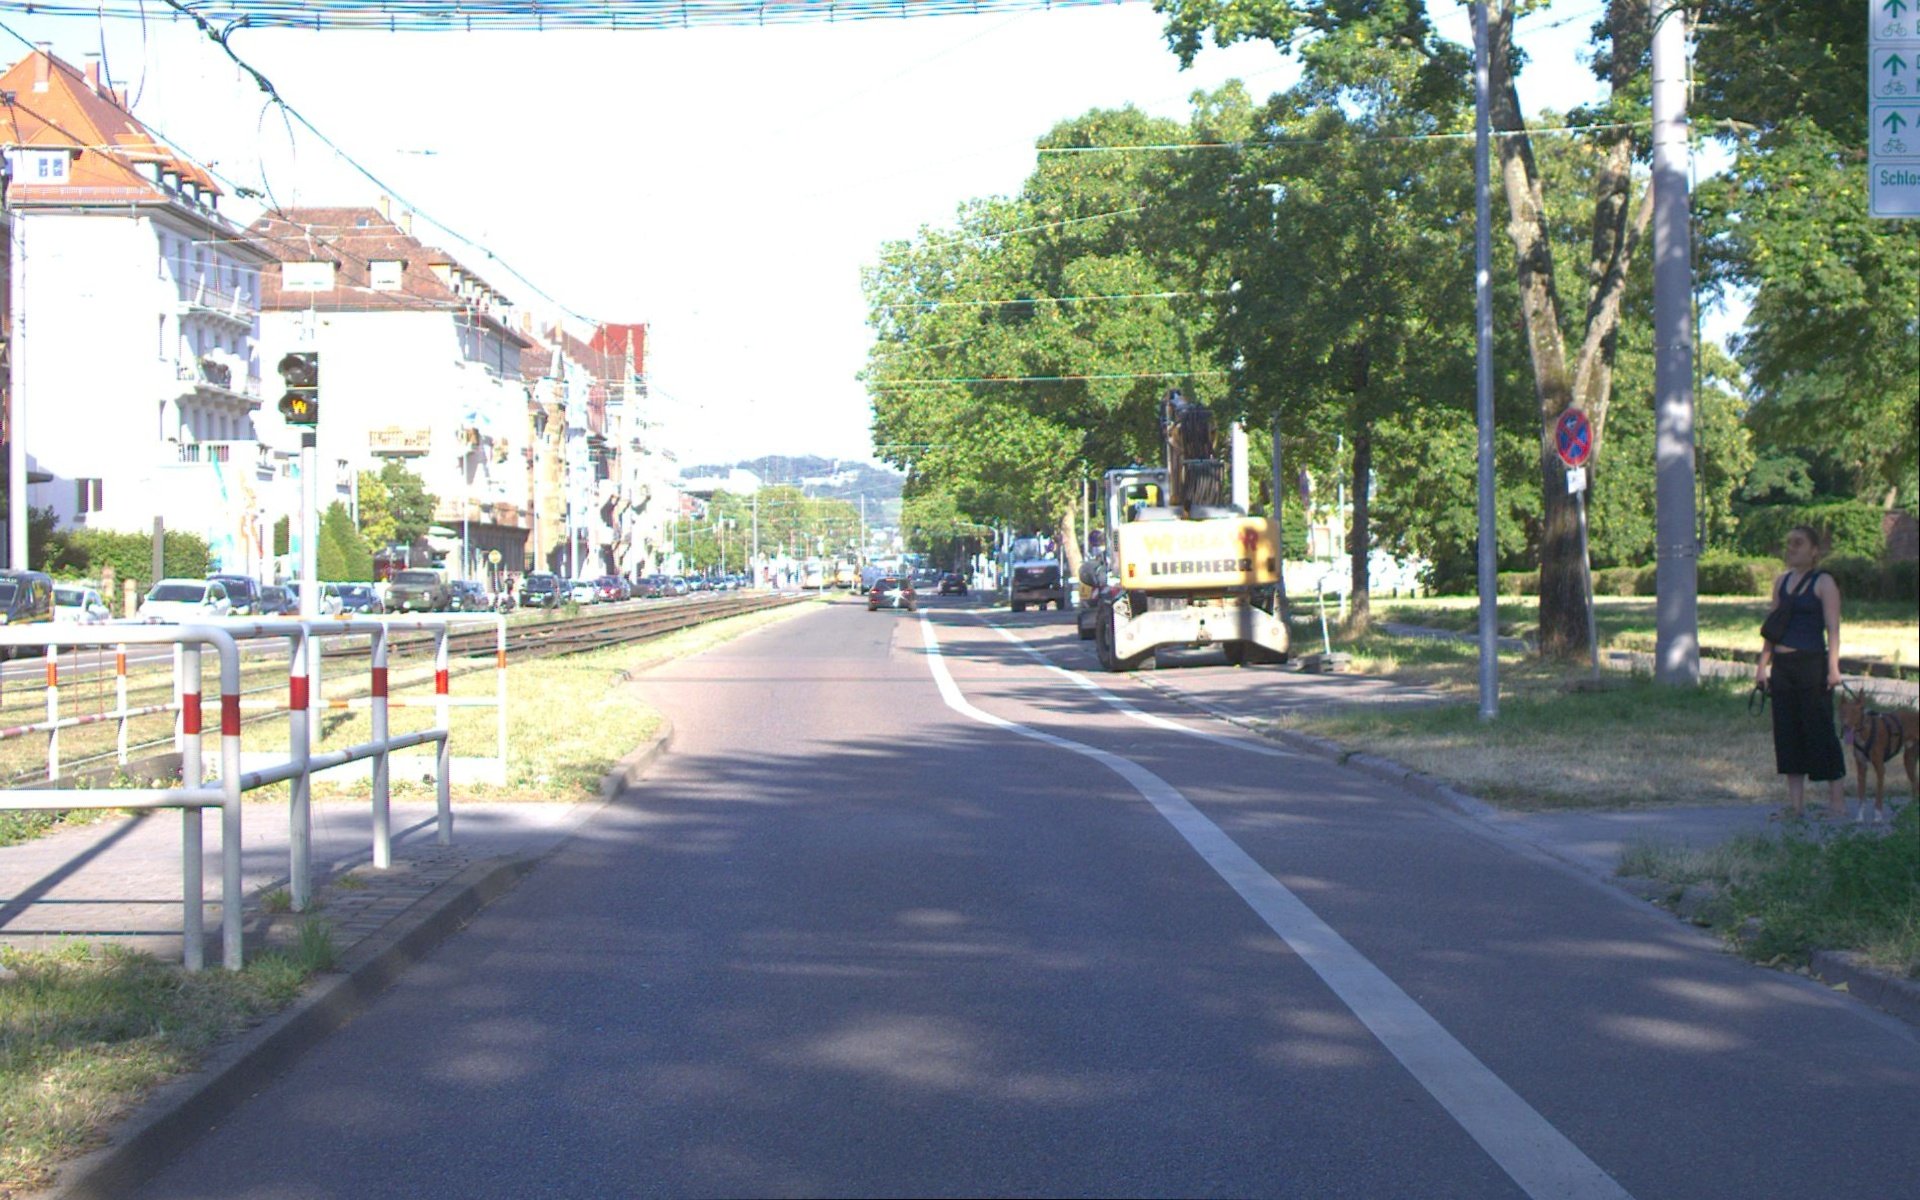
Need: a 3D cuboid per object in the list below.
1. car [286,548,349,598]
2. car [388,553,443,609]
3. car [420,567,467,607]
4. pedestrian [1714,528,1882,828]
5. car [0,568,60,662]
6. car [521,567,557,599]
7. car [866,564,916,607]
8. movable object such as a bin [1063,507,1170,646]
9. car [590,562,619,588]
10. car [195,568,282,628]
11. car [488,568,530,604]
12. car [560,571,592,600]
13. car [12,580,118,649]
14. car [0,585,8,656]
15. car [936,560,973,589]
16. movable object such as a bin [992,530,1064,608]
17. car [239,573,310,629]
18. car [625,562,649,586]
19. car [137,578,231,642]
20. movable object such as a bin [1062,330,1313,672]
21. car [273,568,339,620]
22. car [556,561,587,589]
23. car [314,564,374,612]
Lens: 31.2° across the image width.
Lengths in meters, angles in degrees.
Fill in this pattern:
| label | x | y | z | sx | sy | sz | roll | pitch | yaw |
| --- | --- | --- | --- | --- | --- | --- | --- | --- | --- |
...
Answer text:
| label | x | y | z | sx | sy | sz | roll | pitch | yaw |
| --- | --- | --- | --- | --- | --- | --- | --- | --- | --- |
| car | -21.237 | -0.914 | 113.731 | 1.527 | 1.555 | 3.224 | 1 | 1 | -1 |
| car | -21.835 | -0.787 | 137.976 | 1.658 | 2.132 | 3.526 | 1 | 1 | -1 |
| car | -21.587 | -0.536 | 143.854 | 1.527 | 1.555 | 3.224 | 1 | 1 | -1 |
| pedestrian | 4.764 | 0.432 | 19.585 | 0.660 | 1.641 | 0.862 | -3 | 0 | 0 |
| car | -20.450 | 0.280 | 73.239 | 1.562 | 1.847 | 3.900 | 1 | 1 | -1 |
| car | -22.233 | -0.892 | 181.533 | 1.527 | 1.555 | 3.224 | 1 | 1 | -1 |
| car | -2.822 | -0.606 | 141.502 | 1.993 | 1.678 | 4.000 | 1 | 0 | -1 |
| movable object such as a bin | 3.563 | -0.547 | 79.242 | 1.968 | 3.003 | 4.797 | -3 | 1 | -1 |
| car | -22.700 | -1.611 | 219.728 | 1.527 | 1.605 | 3.224 | 1 | 1 | -1 |
| car | -20.486 | -0.071 | 97.721 | 1.741 | 1.555 | 3.768 | 1 | 2 | -1 |
| car | -20.825 | -0.647 | 158.754 | 1.527 | 1.555 | 3.224 | 1 | 1 | -1 |
| car | -22.144 | -0.835 | 198.471 | 1.527 | 1.555 | 3.224 | 1 | 1 | -1 |
| car | -20.836 | 0.313 | 80.116 | 1.562 | 1.452 | 3.665 | 1 | 2 | -1 |
| car | -20.129 | 0.434 | 67.619 | 1.776 | 1.401 | 3.979 | 1 | 2 | -1 |
| car | -0.358 | -1.732 | 233.068 | 1.993 | 1.853 | 4.001 | 1 | 0 | -7 |
| movable object such as a bin | 2.626 | -1.216 | 134.471 | 2.466 | 2.896 | 4.000 | -3 | 1 | -1 |
| car | -20.581 | 0.020 | 103.268 | 1.527 | 1.555 | 3.224 | 1 | 1 | -1 |
| car | -23.568 | -1.905 | 250.760 | 1.527 | 1.605 | 3.224 | 1 | 1 | -1 |
| car | -20.970 | 0.253 | 92.964 | 1.741 | 1.555 | 3.768 | 1 | 2 | -1 |
| movable object such as a bin | 3.621 | -1.558 | 57.087 | 3.087 | 5.071 | 8.892 | -3 | 1 | -1 |
| car | -20.863 | -0.212 | 109.797 | 1.527 | 1.555 | 3.224 | 1 | 1 | -1 |
| car | -23.441 | -1.521 | 207.312 | 1.527 | 1.605 | 3.224 | 1 | 1 | -1 |
| car | -21.265 | -0.421 | 118.689 | 1.527 | 1.555 | 3.224 | 1 | 1 | -1 |
